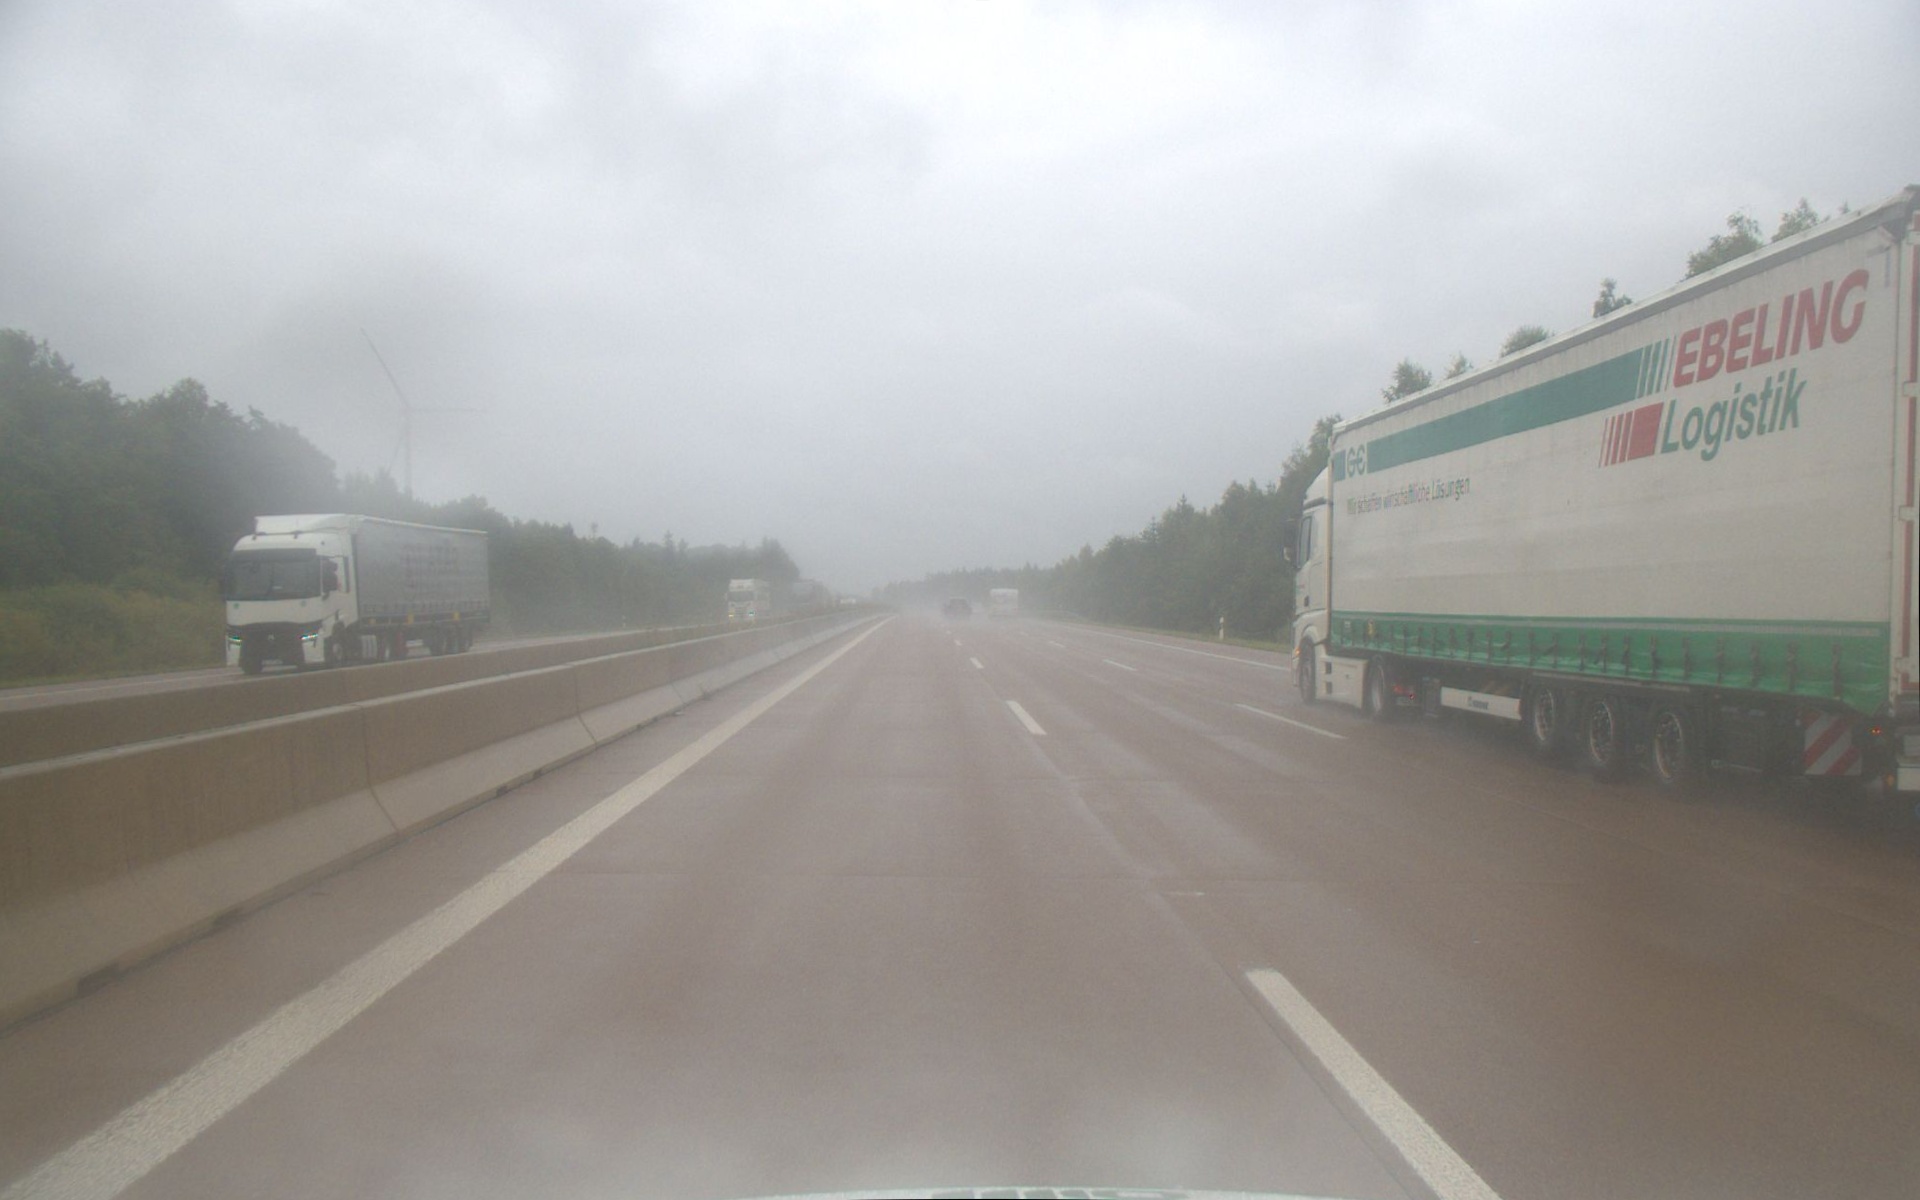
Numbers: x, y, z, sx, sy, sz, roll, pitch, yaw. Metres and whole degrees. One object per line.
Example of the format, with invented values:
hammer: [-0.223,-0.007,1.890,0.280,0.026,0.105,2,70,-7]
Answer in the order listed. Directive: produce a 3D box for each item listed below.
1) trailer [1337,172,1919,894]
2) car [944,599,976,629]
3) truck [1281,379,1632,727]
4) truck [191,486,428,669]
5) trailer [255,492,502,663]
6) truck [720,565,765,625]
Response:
trailer: [6.888,-0.498,16.474,2.795,4.305,13.127,-1,1,-2]
car: [-0.024,0.958,114.177,2.129,2.016,4.129,-1,0,-1]
truck: [6.660,-0.610,23.281,2.822,4.178,6.347,-1,1,-2]
truck: [-17.272,-0.533,44.659,3.350,4.436,7.944,1,0,-2]
trailer: [-17.377,-0.560,50.790,3.361,4.544,12.441,1,0,-1]
truck: [-20.599,-0.435,157.126,3.350,5.473,8.154,1,0,-2]
